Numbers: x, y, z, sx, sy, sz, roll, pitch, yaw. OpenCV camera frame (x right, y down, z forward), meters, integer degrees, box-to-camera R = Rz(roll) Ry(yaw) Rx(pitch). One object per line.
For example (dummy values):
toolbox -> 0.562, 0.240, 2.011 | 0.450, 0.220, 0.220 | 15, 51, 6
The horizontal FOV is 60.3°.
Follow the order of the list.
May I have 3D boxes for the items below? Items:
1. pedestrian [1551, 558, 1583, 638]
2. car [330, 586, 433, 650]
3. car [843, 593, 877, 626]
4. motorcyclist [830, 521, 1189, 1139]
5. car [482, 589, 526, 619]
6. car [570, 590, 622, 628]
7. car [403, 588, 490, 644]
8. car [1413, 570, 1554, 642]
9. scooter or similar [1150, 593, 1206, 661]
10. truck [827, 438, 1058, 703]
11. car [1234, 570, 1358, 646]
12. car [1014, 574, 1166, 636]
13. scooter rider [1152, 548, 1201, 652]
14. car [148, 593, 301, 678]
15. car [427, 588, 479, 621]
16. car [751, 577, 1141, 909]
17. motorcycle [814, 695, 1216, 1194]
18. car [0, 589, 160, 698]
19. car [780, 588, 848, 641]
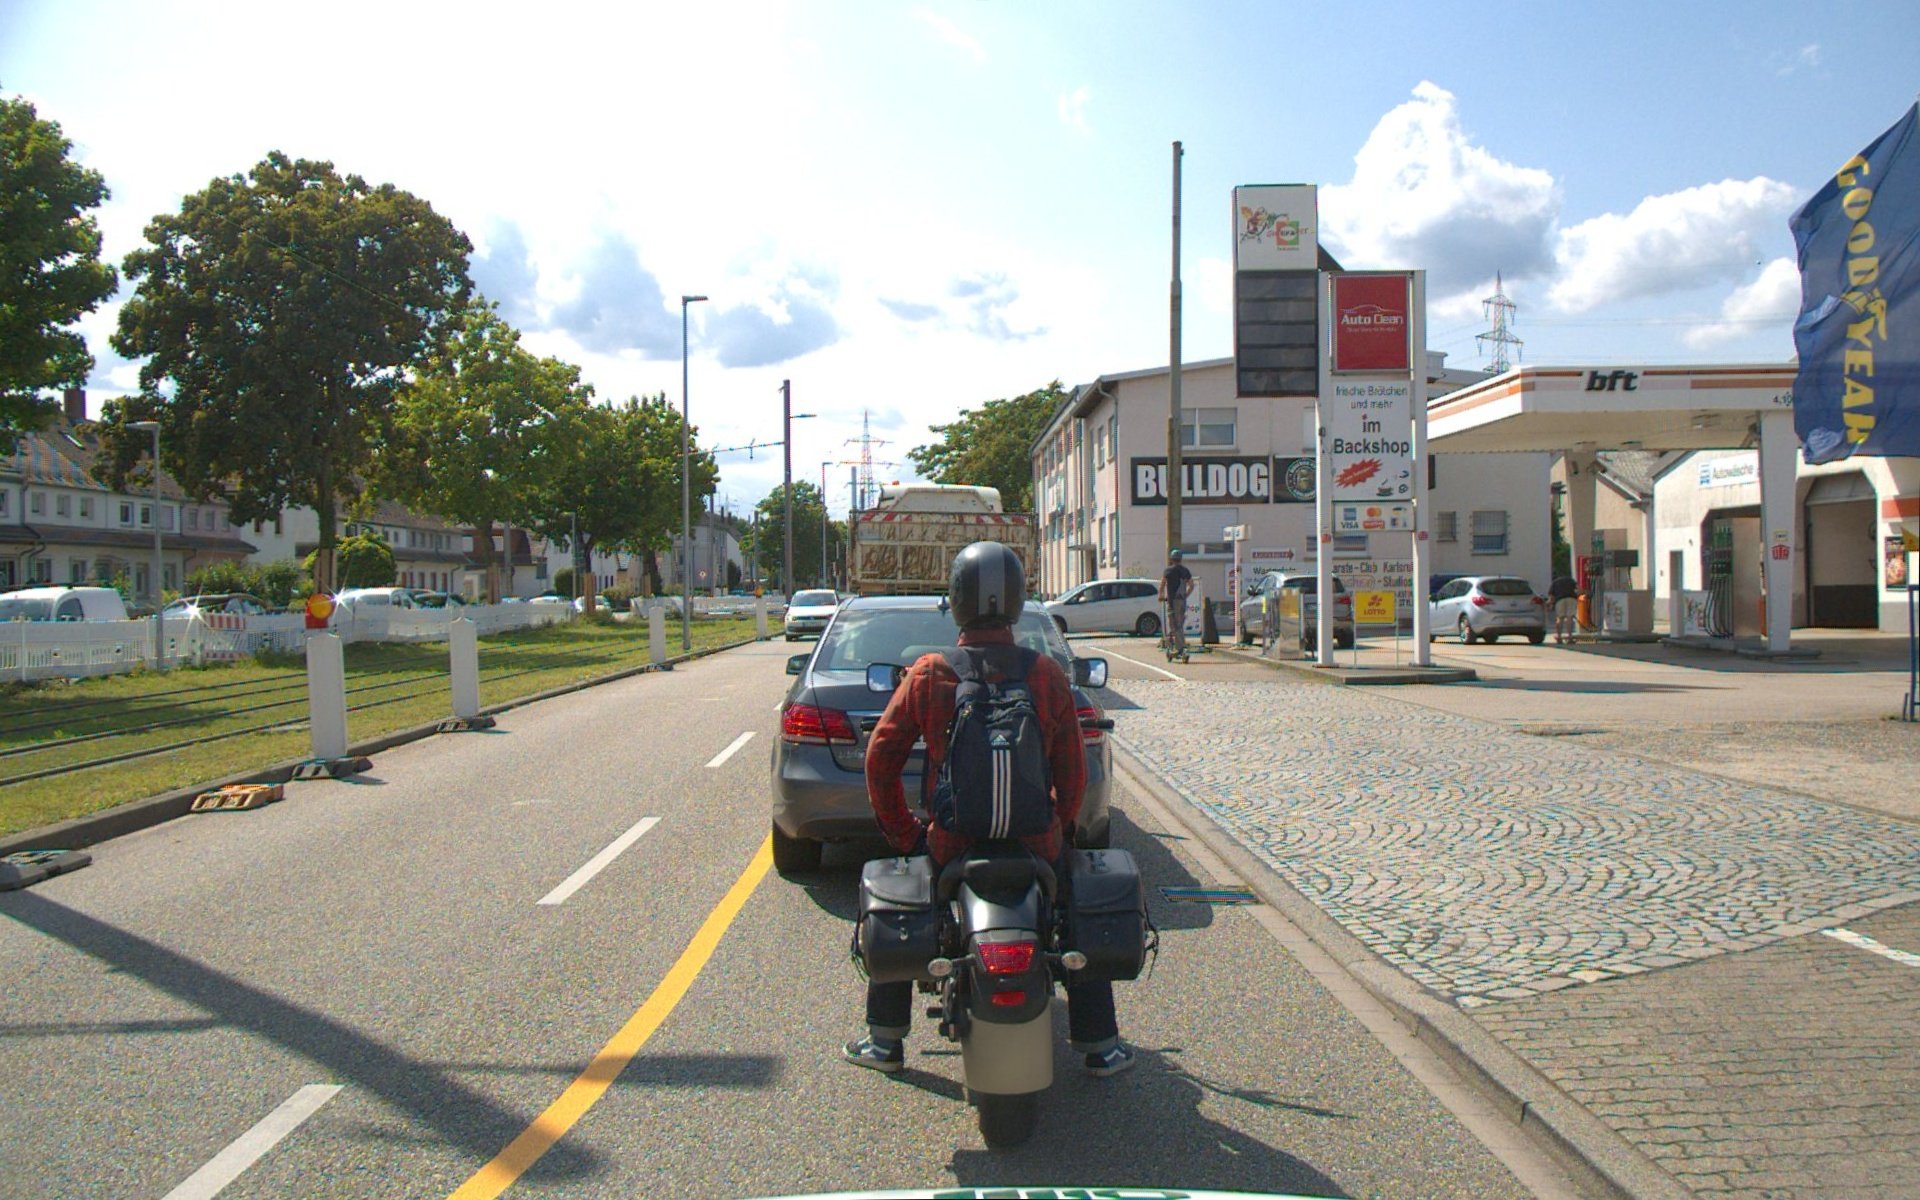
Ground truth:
pedestrian -> 13.132, -0.046, 35.796 | 0.621, 1.712, 0.622 | -1, 0, 20
car -> -16.957, 0.495, 48.619 | 1.664, 1.770, 3.860 | -1, 0, -1
car -> -5.320, 0.476, 88.356 | 1.646, 1.652, 4.118 | -1, 0, -1
motorcyclist -> 0.126, 0.619, 5.080 | 0.950, 1.662, 1.214 | 1, 0, -1
car -> -28.667, 0.231, 104.151 | 1.664, 1.770, 4.061 | -1, 0, -1
car -> -17.494, 0.407, 79.575 | 1.664, 1.770, 3.860 | -1, 0, -1
car -> -17.022, 0.498, 54.985 | 1.664, 1.770, 3.860 | -1, 0, -1
car -> 11.769, 0.104, 37.424 | 1.795, 1.505, 4.008 | -1, 0, -2
scooter or similar -> 3.907, 0.477, 29.736 | 0.779, 1.165, 1.519 | -1, 0, -1
truck -> -0.359, -0.420, 25.473 | 2.910, 3.362, 8.404 | -1, 0, -2
car -> 7.399, 0.144, 36.759 | 1.795, 1.562, 4.008 | -1, 0, -2
car -> 3.667, 0.119, 47.088 | 4.029, 1.652, 1.682 | -1, 0, -9
scooter rider -> 3.897, -0.002, 29.835 | 0.779, 1.850, 0.508 | -1, 0, -1
car -> -16.675, 0.759, 37.722 | 1.664, 1.770, 4.053 | -1, 0, -1
car -> -28.185, 0.245, 92.061 | 1.664, 1.770, 4.061 | -1, 0, -1
car -> -0.123, 0.649, 9.736 | 1.795, 1.505, 4.008 | -1, 0, -2
motorcycle -> 0.115, 0.902, 5.198 | 0.956, 1.031, 2.431 | 1, 0, -1
car -> -16.421, 0.745, 30.298 | 1.664, 1.849, 3.860 | -1, 0, -1
car -> -4.267, 0.393, 48.877 | 1.680, 1.438, 4.261 | -1, 0, -1
